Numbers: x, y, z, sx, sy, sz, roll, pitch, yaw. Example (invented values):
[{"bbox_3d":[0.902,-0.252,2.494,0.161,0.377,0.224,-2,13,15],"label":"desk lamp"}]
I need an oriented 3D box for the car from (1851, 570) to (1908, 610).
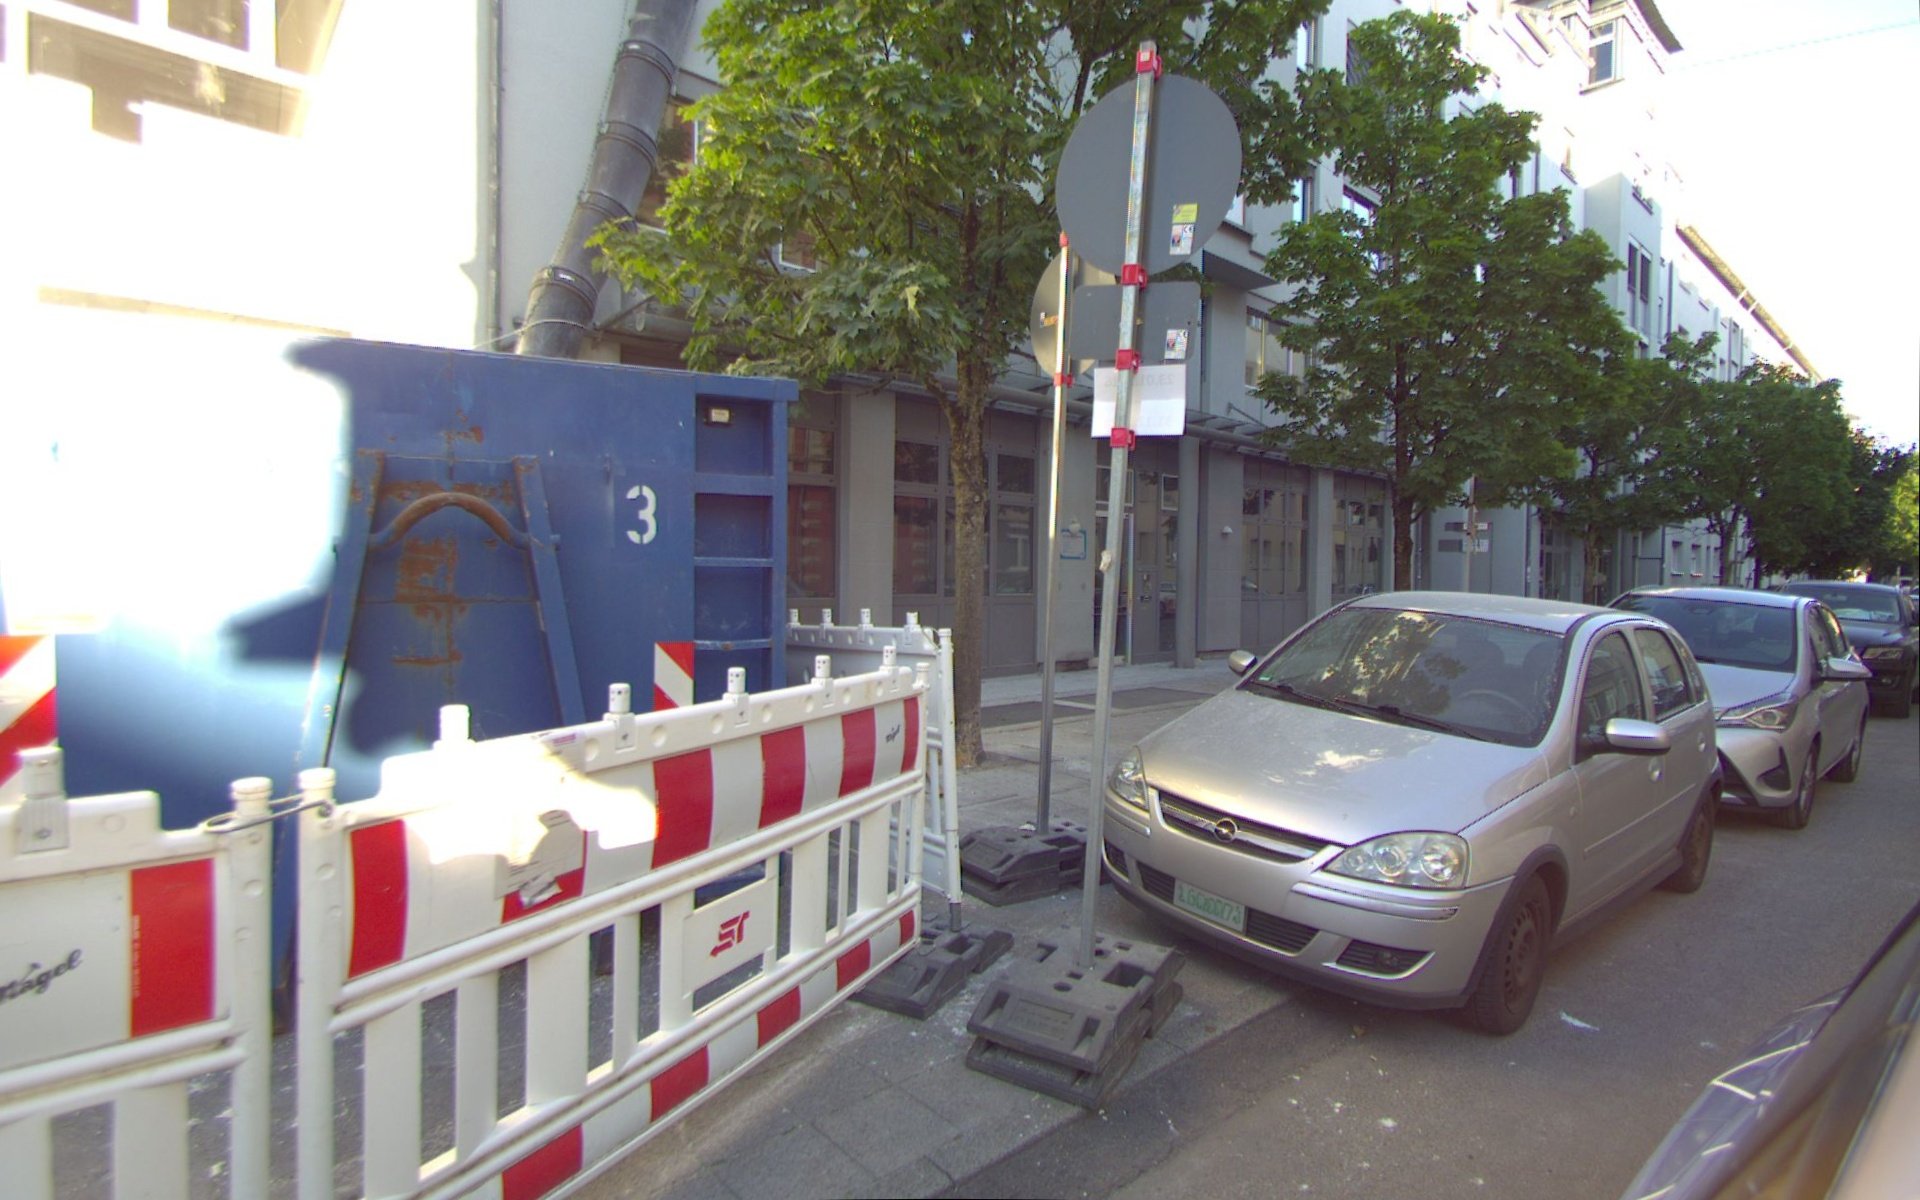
[{"bbox_3d":[48.847,-0.549,53.741,3.935,2.039,1.995,-1,1,-45],"label":"car"}]

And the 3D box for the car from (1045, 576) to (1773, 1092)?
[{"bbox_3d":[2.381,0.628,4.815,3.996,1.465,1.637,-1,1,-41],"label":"car"}]

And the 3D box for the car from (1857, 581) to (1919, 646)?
[{"bbox_3d":[23.595,0.295,25.019,3.935,1.507,1.852,-1,2,-45],"label":"car"}]

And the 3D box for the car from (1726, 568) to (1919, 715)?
[{"bbox_3d":[12.146,0.436,13.865,4.315,1.710,1.861,-1,1,-42],"label":"car"}]

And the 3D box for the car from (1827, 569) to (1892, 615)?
[{"bbox_3d":[42.069,-0.389,47.311,3.935,2.039,1.995,-1,1,-45],"label":"car"}]

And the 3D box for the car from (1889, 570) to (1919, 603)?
[{"bbox_3d":[61.320,-0.887,65.181,3.935,2.039,1.995,-1,1,-45],"label":"car"}]

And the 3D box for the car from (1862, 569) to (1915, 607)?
[{"bbox_3d":[52.094,-0.673,56.732,3.935,2.039,1.995,-1,1,-45],"label":"car"}]

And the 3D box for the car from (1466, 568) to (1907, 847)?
[{"bbox_3d":[5.740,0.577,7.825,3.930,1.605,1.911,-1,1,-41],"label":"car"}]

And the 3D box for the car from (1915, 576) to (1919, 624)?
[{"bbox_3d":[35.411,0.002,36.114,1.851,1.679,3.936,1,1,44],"label":"car"}]
